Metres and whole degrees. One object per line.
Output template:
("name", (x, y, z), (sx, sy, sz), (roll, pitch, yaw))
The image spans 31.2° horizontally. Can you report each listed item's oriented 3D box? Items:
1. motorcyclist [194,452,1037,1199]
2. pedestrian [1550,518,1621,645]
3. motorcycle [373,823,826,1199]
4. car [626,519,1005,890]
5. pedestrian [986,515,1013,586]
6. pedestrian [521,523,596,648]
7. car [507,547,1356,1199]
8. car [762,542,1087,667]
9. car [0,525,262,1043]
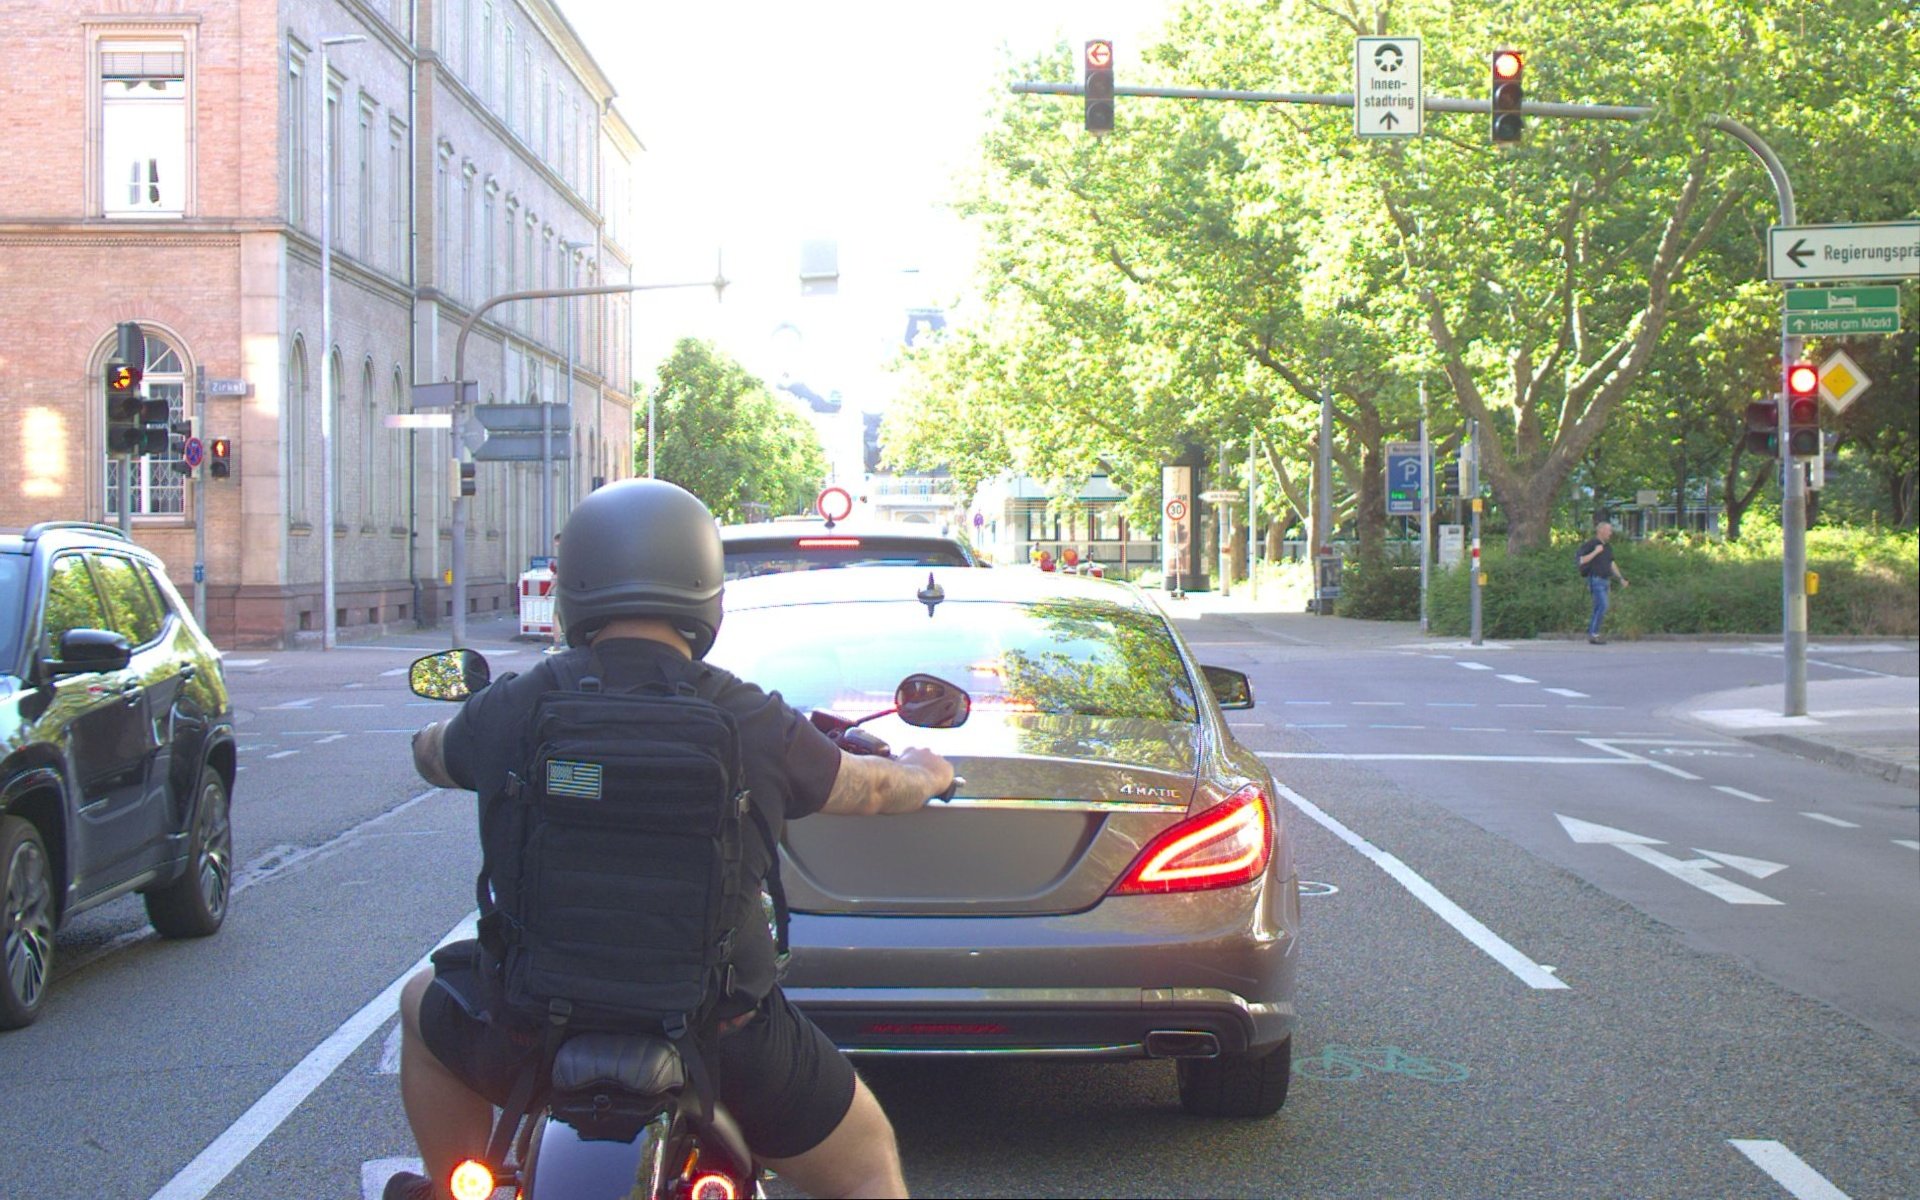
("motorcyclist", (-0.487, 0.595, 5.395), (1.149, 1.593, 1.288), (1, 0, -1))
("pedestrian", (9.571, -0.284, 52.586), (0.924, 1.903, 0.751), (1, 0, 21))
("motorcycle", (-0.499, 0.926, 5.353), (0.513, 0.999, 2.013), (1, 1, -1))
("car", (-0.640, 0.411, 16.730), (1.621, 1.588, 4.000), (0, 1, -1))
("pedestrian", (1.156, -1.453, 100.920), (0.764, 2.044, 0.712), (1, 0, -1))
("pedestrian", (-5.959, -0.218, 51.038), (1.001, 1.820, 1.076), (1, 0, -3))
("car", (-0.086, 0.595, 9.615), (1.882, 1.444, 3.820), (1, 1, -1))
("car", (-0.437, 0.051, 45.512), (4.124, 1.569, 1.857), (0, 1, -43))
("car", (-3.830, 0.525, 12.158), (1.850, 1.565, 4.386), (1, 1, -1))
